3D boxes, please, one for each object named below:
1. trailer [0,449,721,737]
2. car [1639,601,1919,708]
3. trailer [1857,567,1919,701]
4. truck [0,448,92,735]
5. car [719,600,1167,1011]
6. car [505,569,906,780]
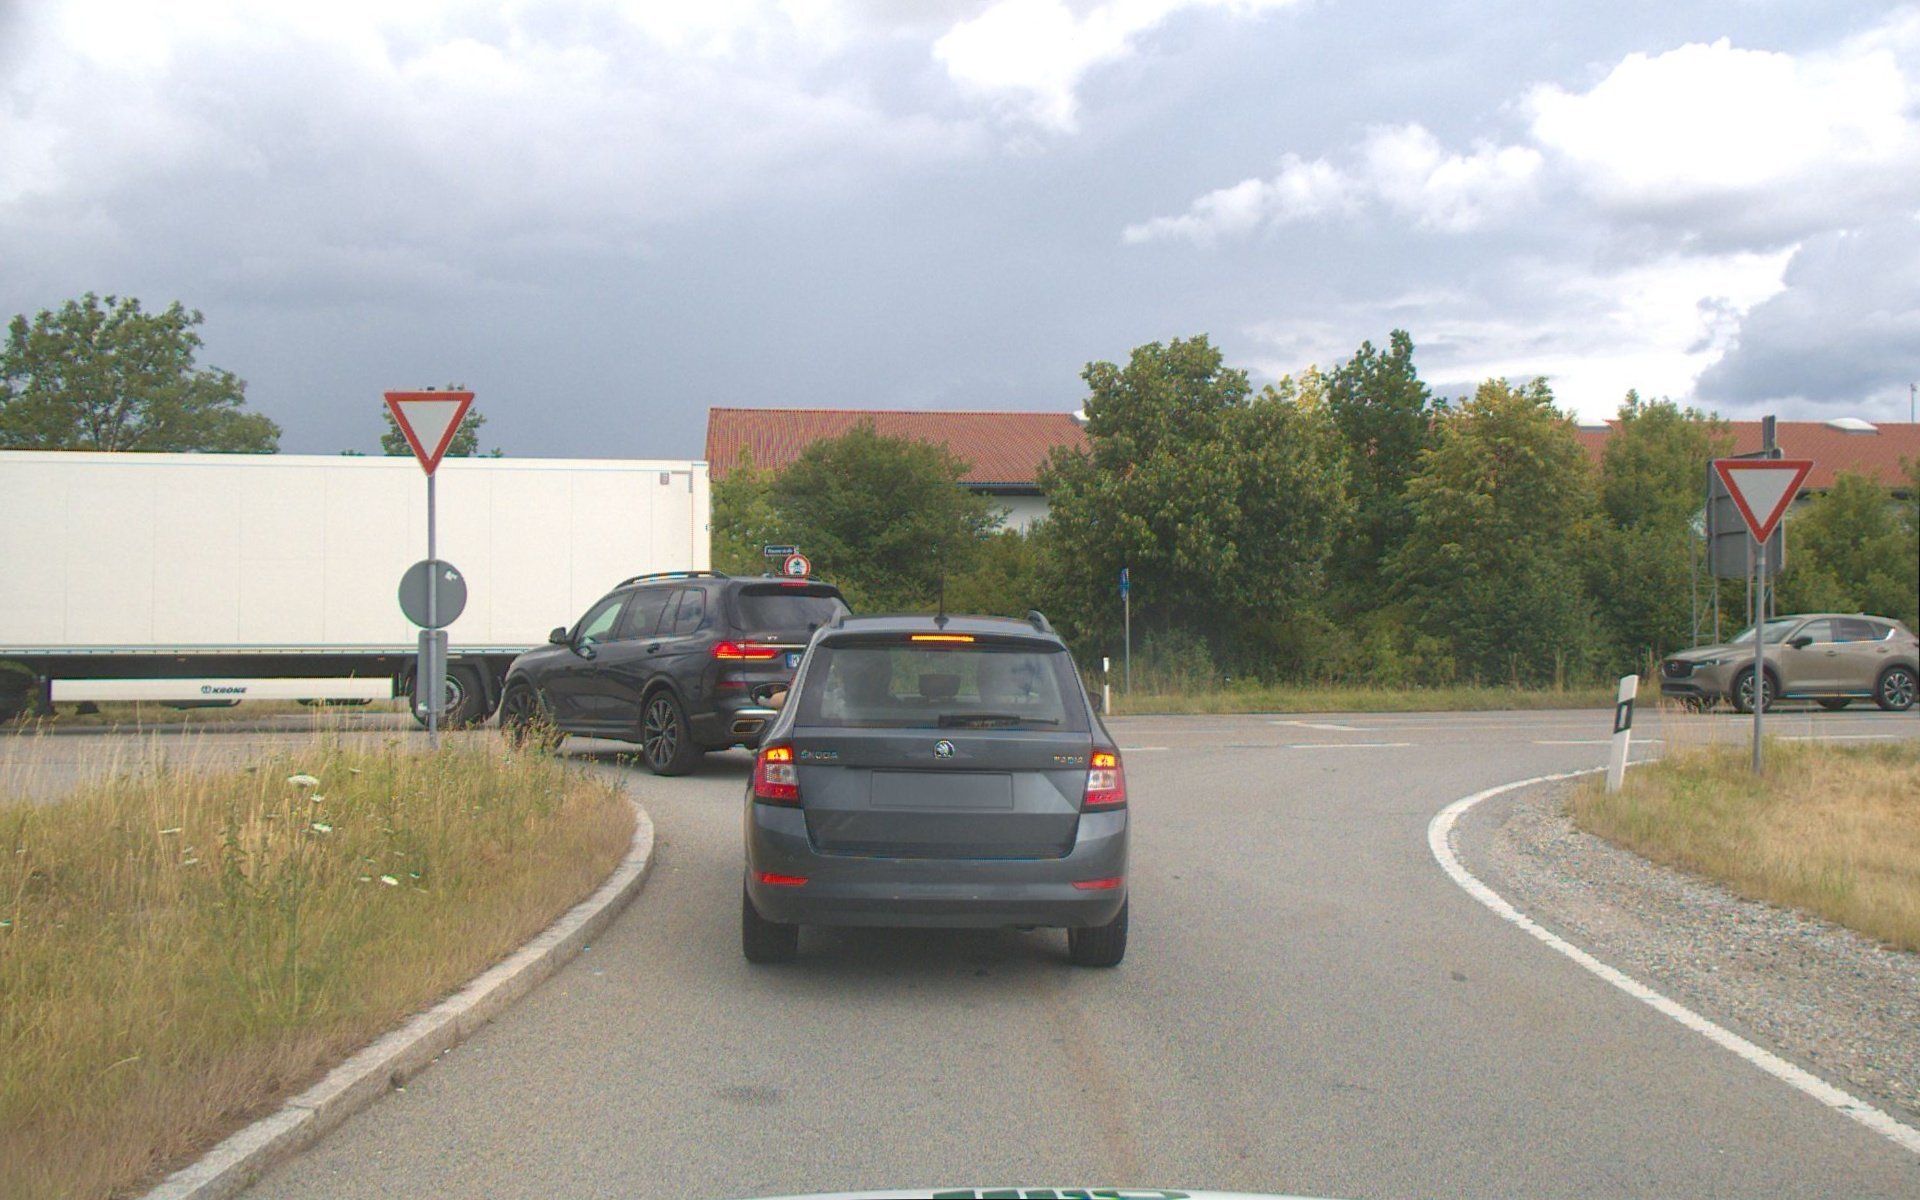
[{"bbox_3d":[-10.568,-0.077,25.471,13.583,4.085,3.122,0,-2,-9],"label":"trailer"},{"bbox_3d":[14.372,0.922,28.712,4.383,1.712,1.995,-1,-2,-11],"label":"car"},{"bbox_3d":[18.782,0.563,29.497,4.302,2.333,2.411,-1,-2,-10],"label":"trailer"},{"bbox_3d":[-17.283,-0.047,24.492,7.147,4.085,3.122,0,-2,-9],"label":"truck"},{"bbox_3d":[-0.168,0.755,7.943,1.643,1.488,3.705,0,0,-4],"label":"car"},{"bbox_3d":[-2.693,0.692,16.611,1.980,1.806,4.578,1,-2,-39],"label":"car"}]
